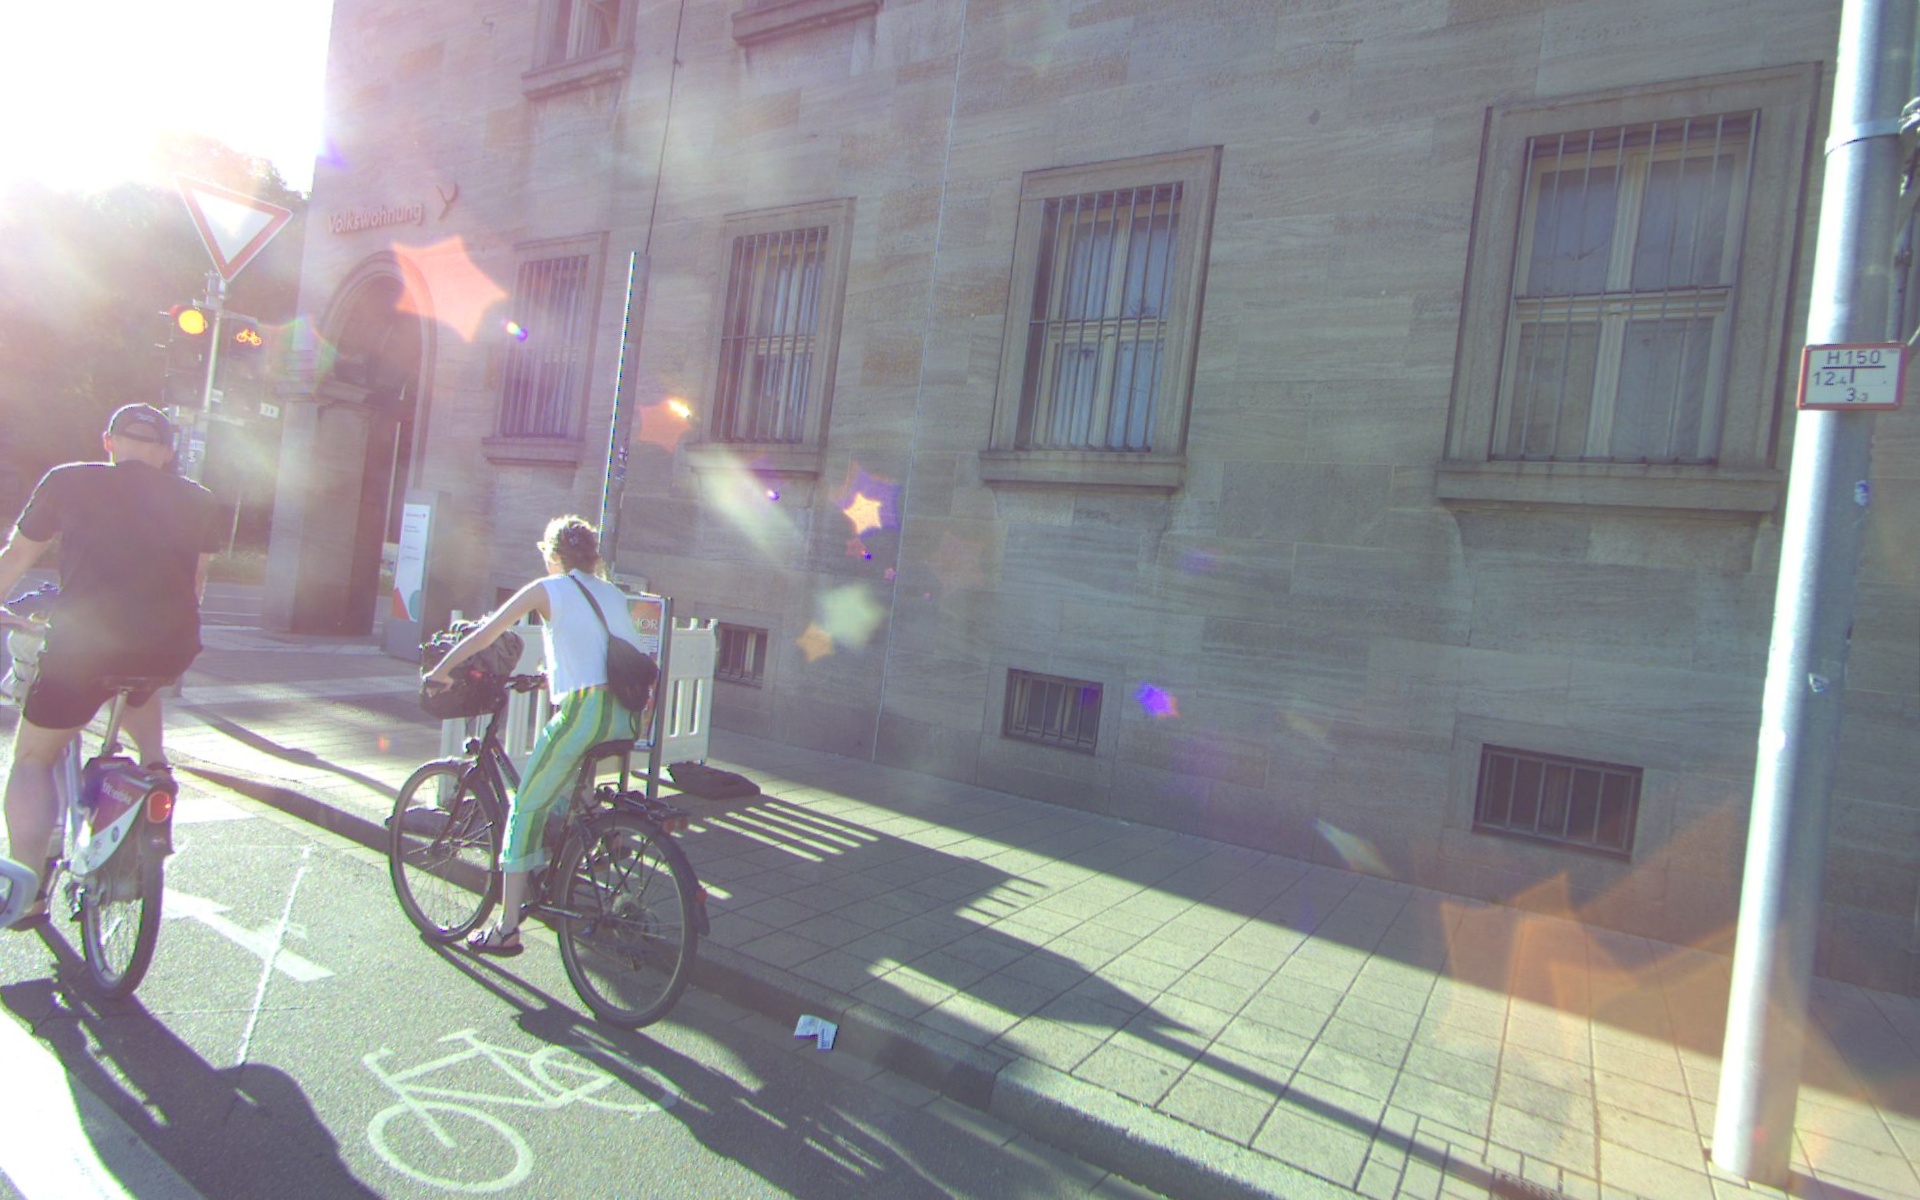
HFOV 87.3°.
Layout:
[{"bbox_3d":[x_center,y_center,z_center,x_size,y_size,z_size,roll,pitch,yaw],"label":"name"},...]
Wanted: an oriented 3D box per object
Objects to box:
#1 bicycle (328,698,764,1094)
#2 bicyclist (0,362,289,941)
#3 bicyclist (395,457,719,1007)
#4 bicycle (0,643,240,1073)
[{"bbox_3d":[-1.598,0.943,3.685,1.920,0.887,0.427,7,0,35],"label":"bicycle"},{"bbox_3d":[-2.854,0.155,3.371,0.646,1.698,0.670,7,0,34],"label":"bicyclist"},{"bbox_3d":[-1.434,0.398,3.566,0.845,1.700,0.522,7,1,35],"label":"bicyclist"},{"bbox_3d":[-2.987,0.715,3.395,1.923,0.916,0.388,7,0,41],"label":"bicycle"}]
